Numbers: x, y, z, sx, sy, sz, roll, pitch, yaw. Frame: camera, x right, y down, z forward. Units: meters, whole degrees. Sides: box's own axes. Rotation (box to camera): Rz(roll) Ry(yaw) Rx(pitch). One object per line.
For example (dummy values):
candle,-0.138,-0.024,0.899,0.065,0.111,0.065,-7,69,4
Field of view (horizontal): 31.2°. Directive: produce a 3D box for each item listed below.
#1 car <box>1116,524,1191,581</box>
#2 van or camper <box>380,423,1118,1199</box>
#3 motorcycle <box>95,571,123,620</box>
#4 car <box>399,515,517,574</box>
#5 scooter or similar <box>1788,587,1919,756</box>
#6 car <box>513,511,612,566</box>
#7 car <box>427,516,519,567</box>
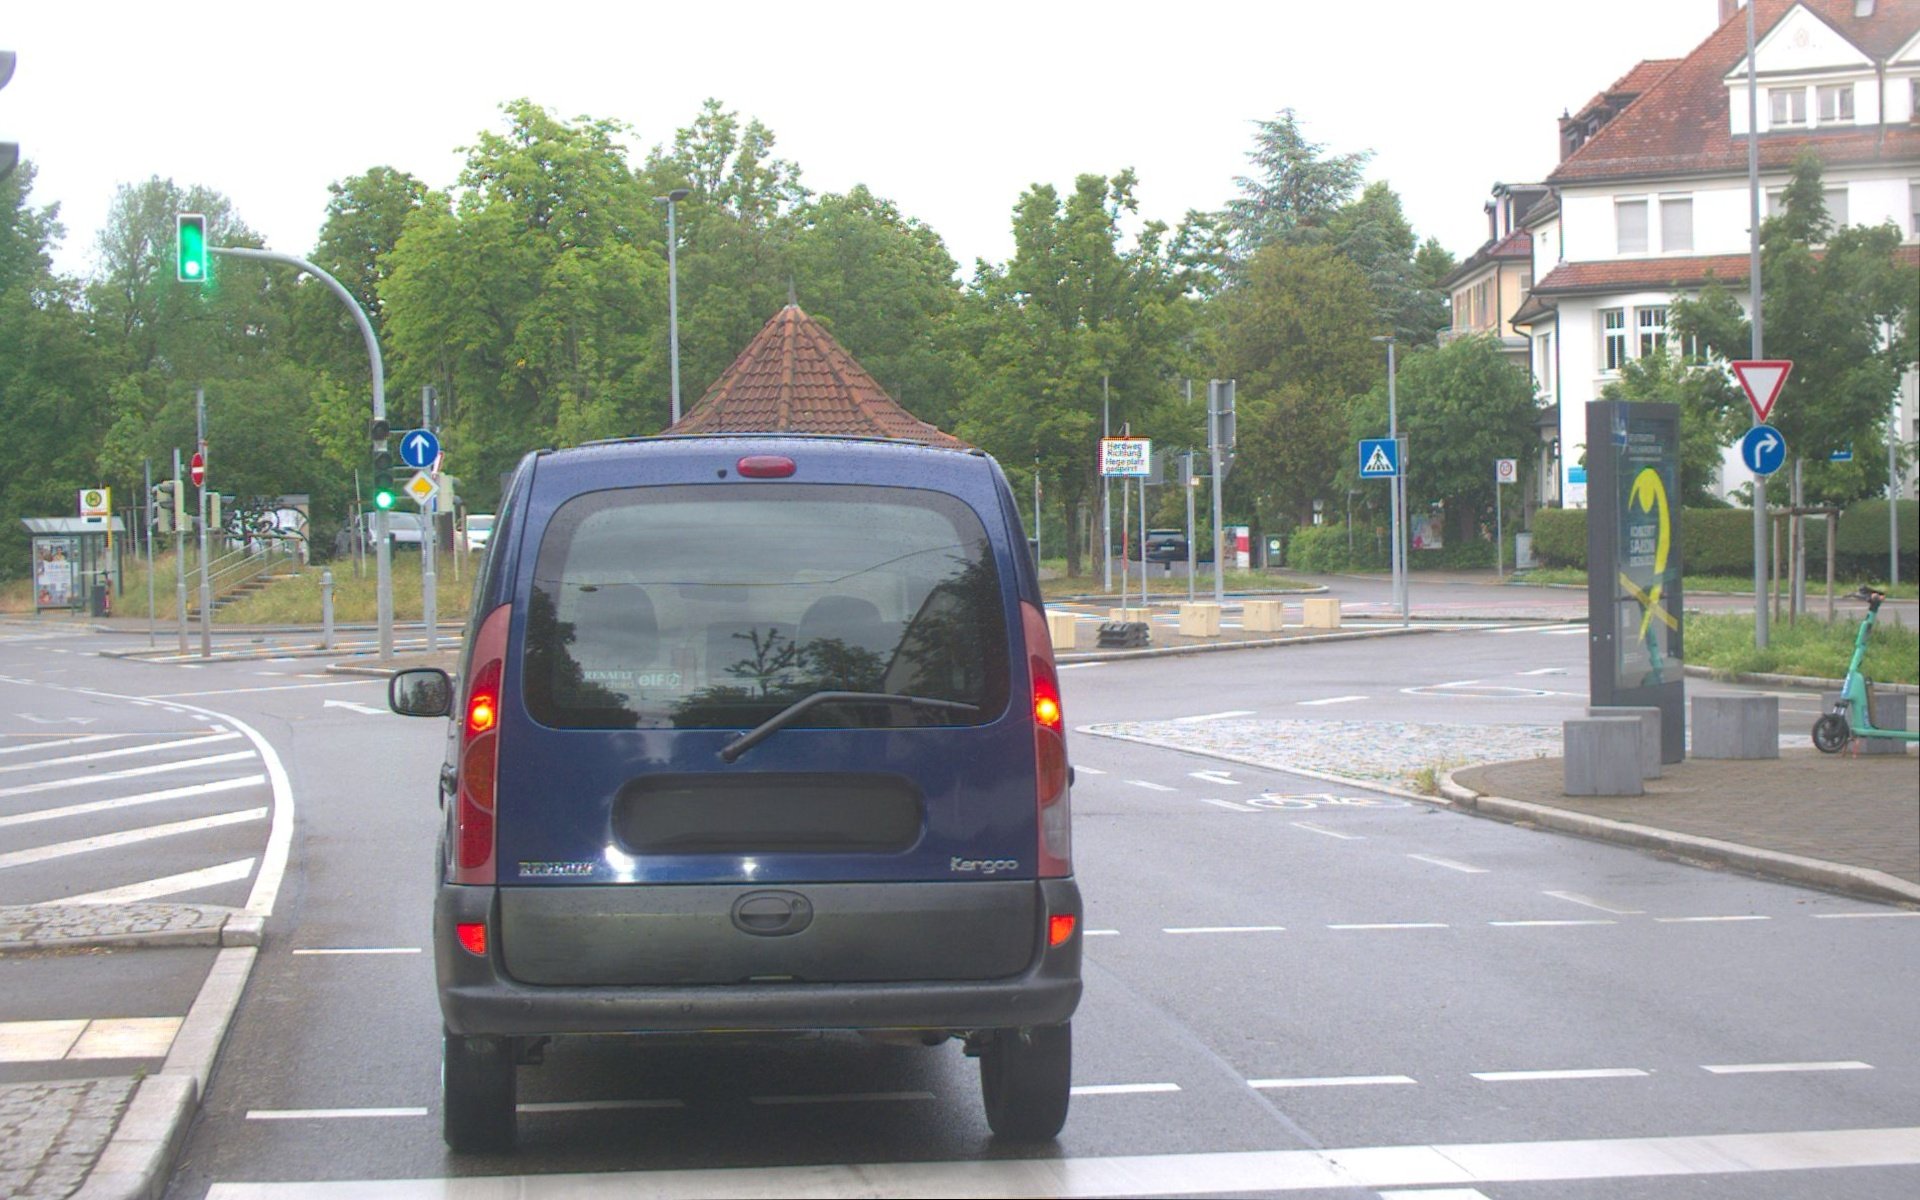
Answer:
car,7.097,-1.743,126.319,1.993,2.007,4.001,-1,1,-8
van or camper,-0.725,0.482,10.137,1.712,1.819,4.001,-1,1,-7
motorcycle,-22.807,-0.129,92.128,0.588,1.284,1.538,-2,1,-11
car,-13.465,-1.467,92.048,1.993,1.475,4.285,0,0,-24
scooter or similar,6.794,0.521,25.080,1.348,1.203,0.525,1,0,-9
car,-11.247,-1.713,96.973,1.885,1.475,4.070,0,0,-20
car,-15.161,-1.806,106.885,1.885,1.475,4.069,-2,0,-21
